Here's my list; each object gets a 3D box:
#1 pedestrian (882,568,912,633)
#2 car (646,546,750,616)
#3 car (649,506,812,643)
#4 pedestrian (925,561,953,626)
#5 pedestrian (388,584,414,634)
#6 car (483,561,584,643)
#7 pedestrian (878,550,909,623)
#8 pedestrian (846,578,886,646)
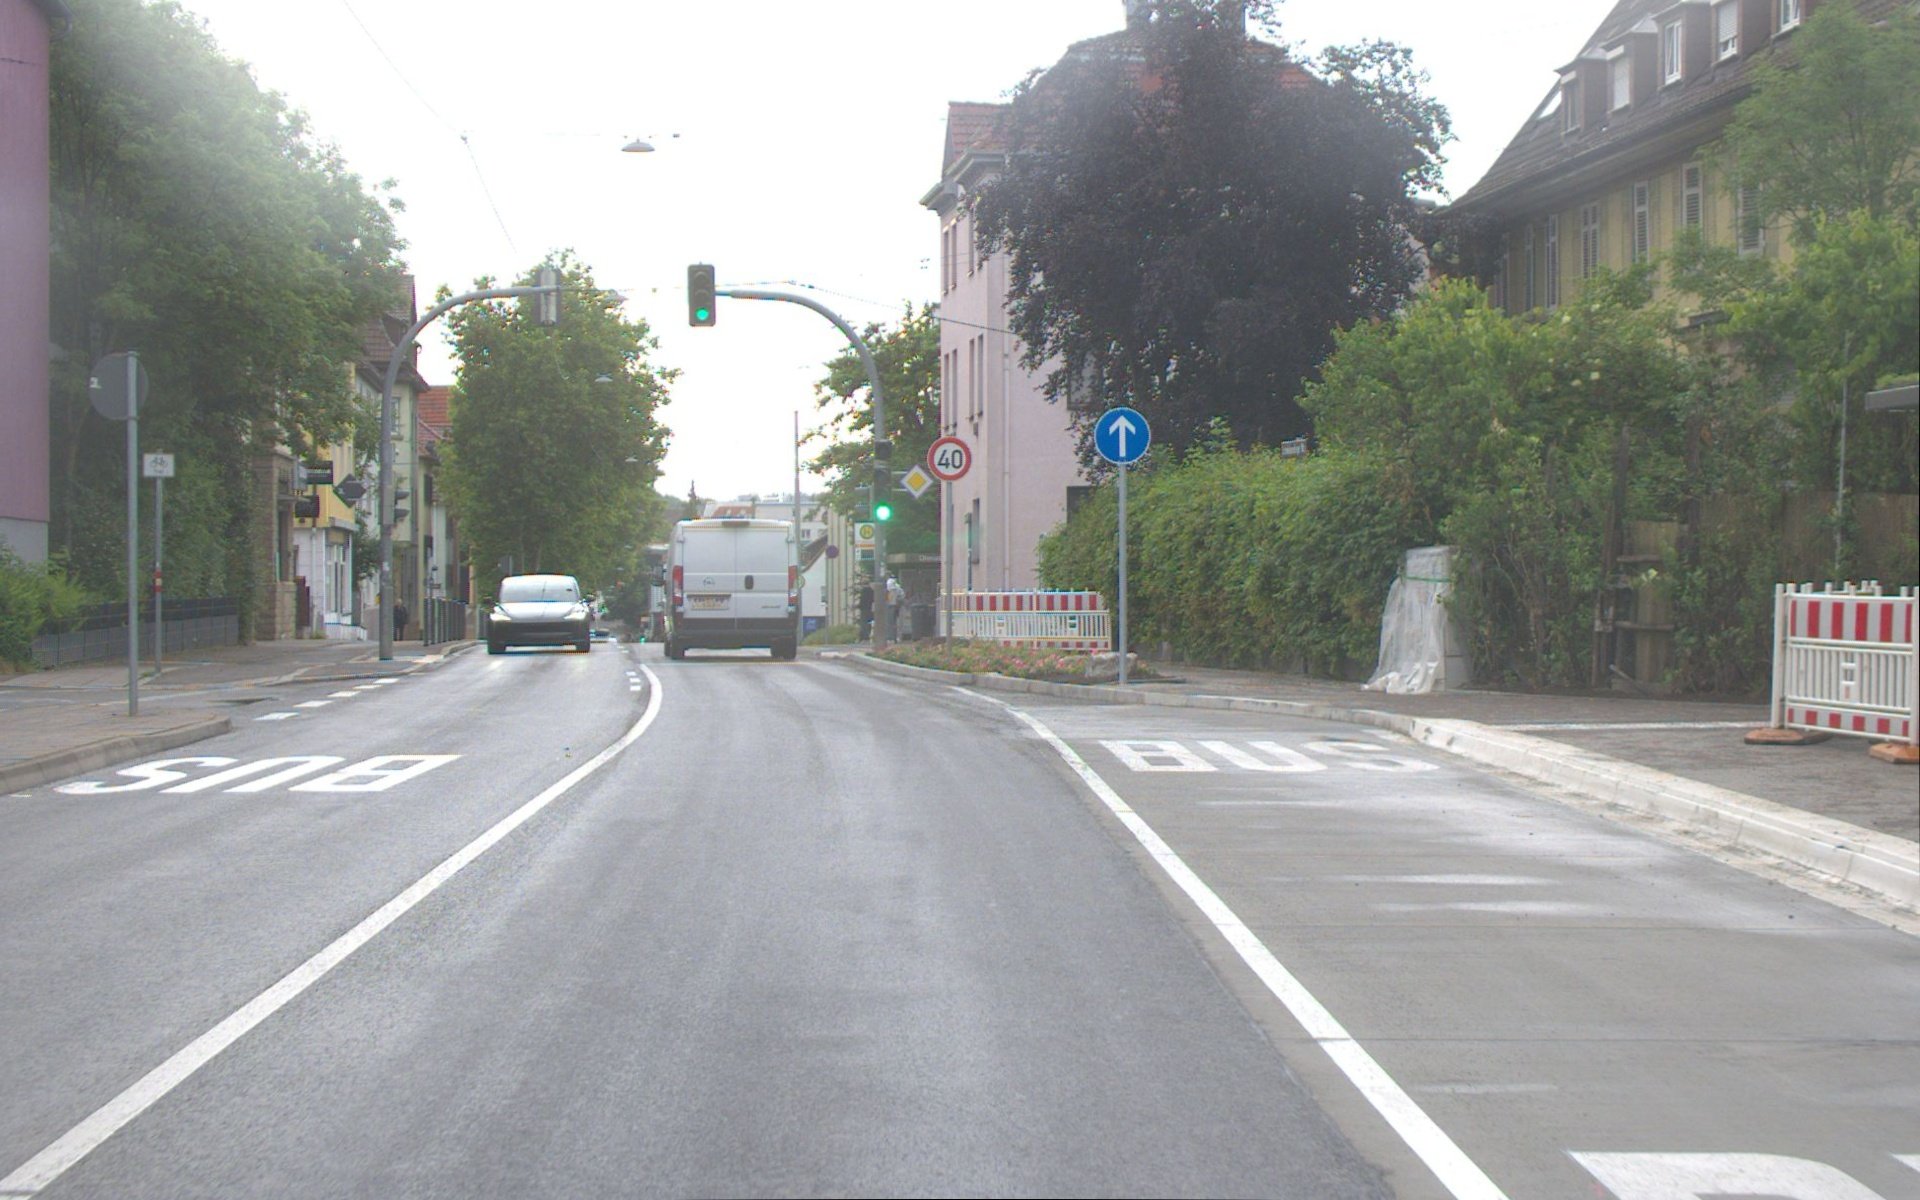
[{"bbox_3d":[-1.698,0.018,92.562,0.660,1.735,0.829,-1,-1,-11],"label":"pedestrian"},{"bbox_3d":[-6.668,-0.466,87.100,2.346,1.722,4.778,0,0,-8],"label":"car"},{"bbox_3d":[-3.836,-0.415,56.596,2.346,2.153,4.778,0,0,-8],"label":"car"},{"bbox_3d":[-0.596,-0.186,98.292,0.647,1.825,0.741,-1,-1,8],"label":"pedestrian"},{"bbox_3d":[-19.504,0.318,119.984,0.815,1.674,0.993,1,-2,-8],"label":"pedestrian"},{"bbox_3d":[-7.885,0.012,63.457,1.783,1.447,4.391,0,1,-7],"label":"car"},{"bbox_3d":[-1.729,-0.346,89.279,0.487,1.869,0.632,-3,0,26],"label":"pedestrian"},{"bbox_3d":[-2.419,0.315,88.241,0.634,1.704,0.749,-2,0,-39],"label":"pedestrian"}]
